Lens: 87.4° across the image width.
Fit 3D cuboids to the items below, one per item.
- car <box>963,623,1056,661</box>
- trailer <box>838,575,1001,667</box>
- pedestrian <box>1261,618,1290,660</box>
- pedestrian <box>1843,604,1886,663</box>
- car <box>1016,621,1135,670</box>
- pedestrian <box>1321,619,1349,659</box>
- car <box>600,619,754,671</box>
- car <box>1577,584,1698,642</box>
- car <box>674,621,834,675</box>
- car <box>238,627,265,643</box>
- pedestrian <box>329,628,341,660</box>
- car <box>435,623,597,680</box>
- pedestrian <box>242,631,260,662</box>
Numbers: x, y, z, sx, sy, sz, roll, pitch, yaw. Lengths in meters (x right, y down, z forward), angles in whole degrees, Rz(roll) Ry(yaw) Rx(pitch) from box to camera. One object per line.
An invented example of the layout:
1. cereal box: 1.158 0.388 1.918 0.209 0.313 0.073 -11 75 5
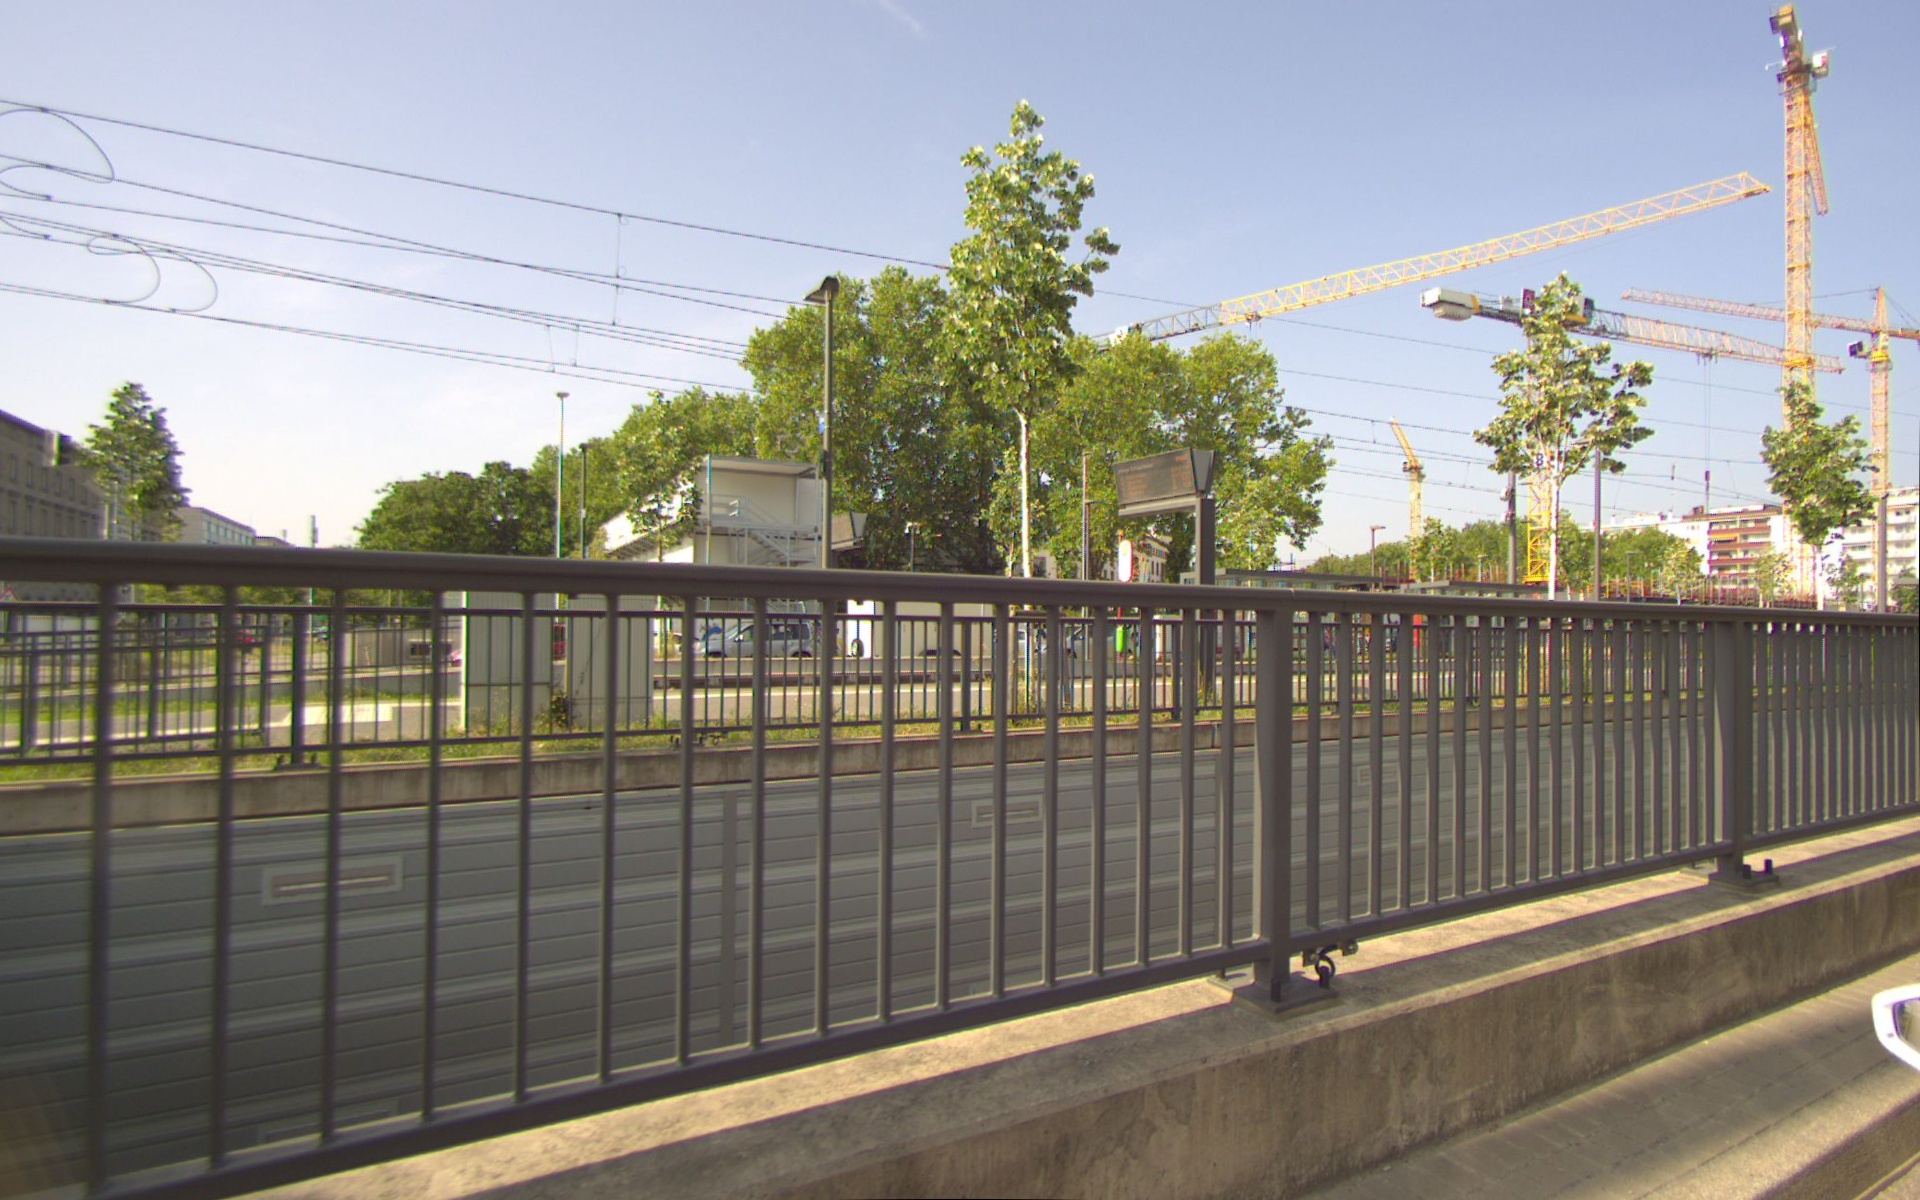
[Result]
1. car: 1.997 1.679 40.358 3.393 1.483 1.589 1 -1 -30
2. trailer: -1.295 0.688 32.986 4.964 2.818 2.034 2 0 -31
3. pedestrian: 10.036 1.220 31.972 0.586 1.317 0.676 1 -1 -33
4. pedestrian: 25.585 0.947 28.404 0.702 1.640 0.732 1 -1 -31
5. car: 4.194 1.638 36.465 4.102 1.684 1.712 1 -1 -30
6. pedestrian: 12.504 1.295 33.501 0.586 1.317 0.676 1 -1 -33
7. car: -9.262 1.441 33.039 4.569 1.602 1.781 2 -2 -35
8. car: 44.393 0.892 65.697 9.128 3.559 3.038 1 -1 -31
9. car: -6.048 1.381 29.666 4.354 1.489 1.634 1 -1 -32
10. car: -79.995 3.950 113.517 1.863 1.741 3.973 1 -1 -26
11. pedestrian: -34.842 2.450 55.979 0.534 1.731 0.588 1 -1 -32
12. car: -11.692 1.323 26.523 3.660 1.379 1.710 1 -1 -34
13. pedestrian: -29.647 1.943 42.002 0.531 1.233 0.441 1 0 -29
